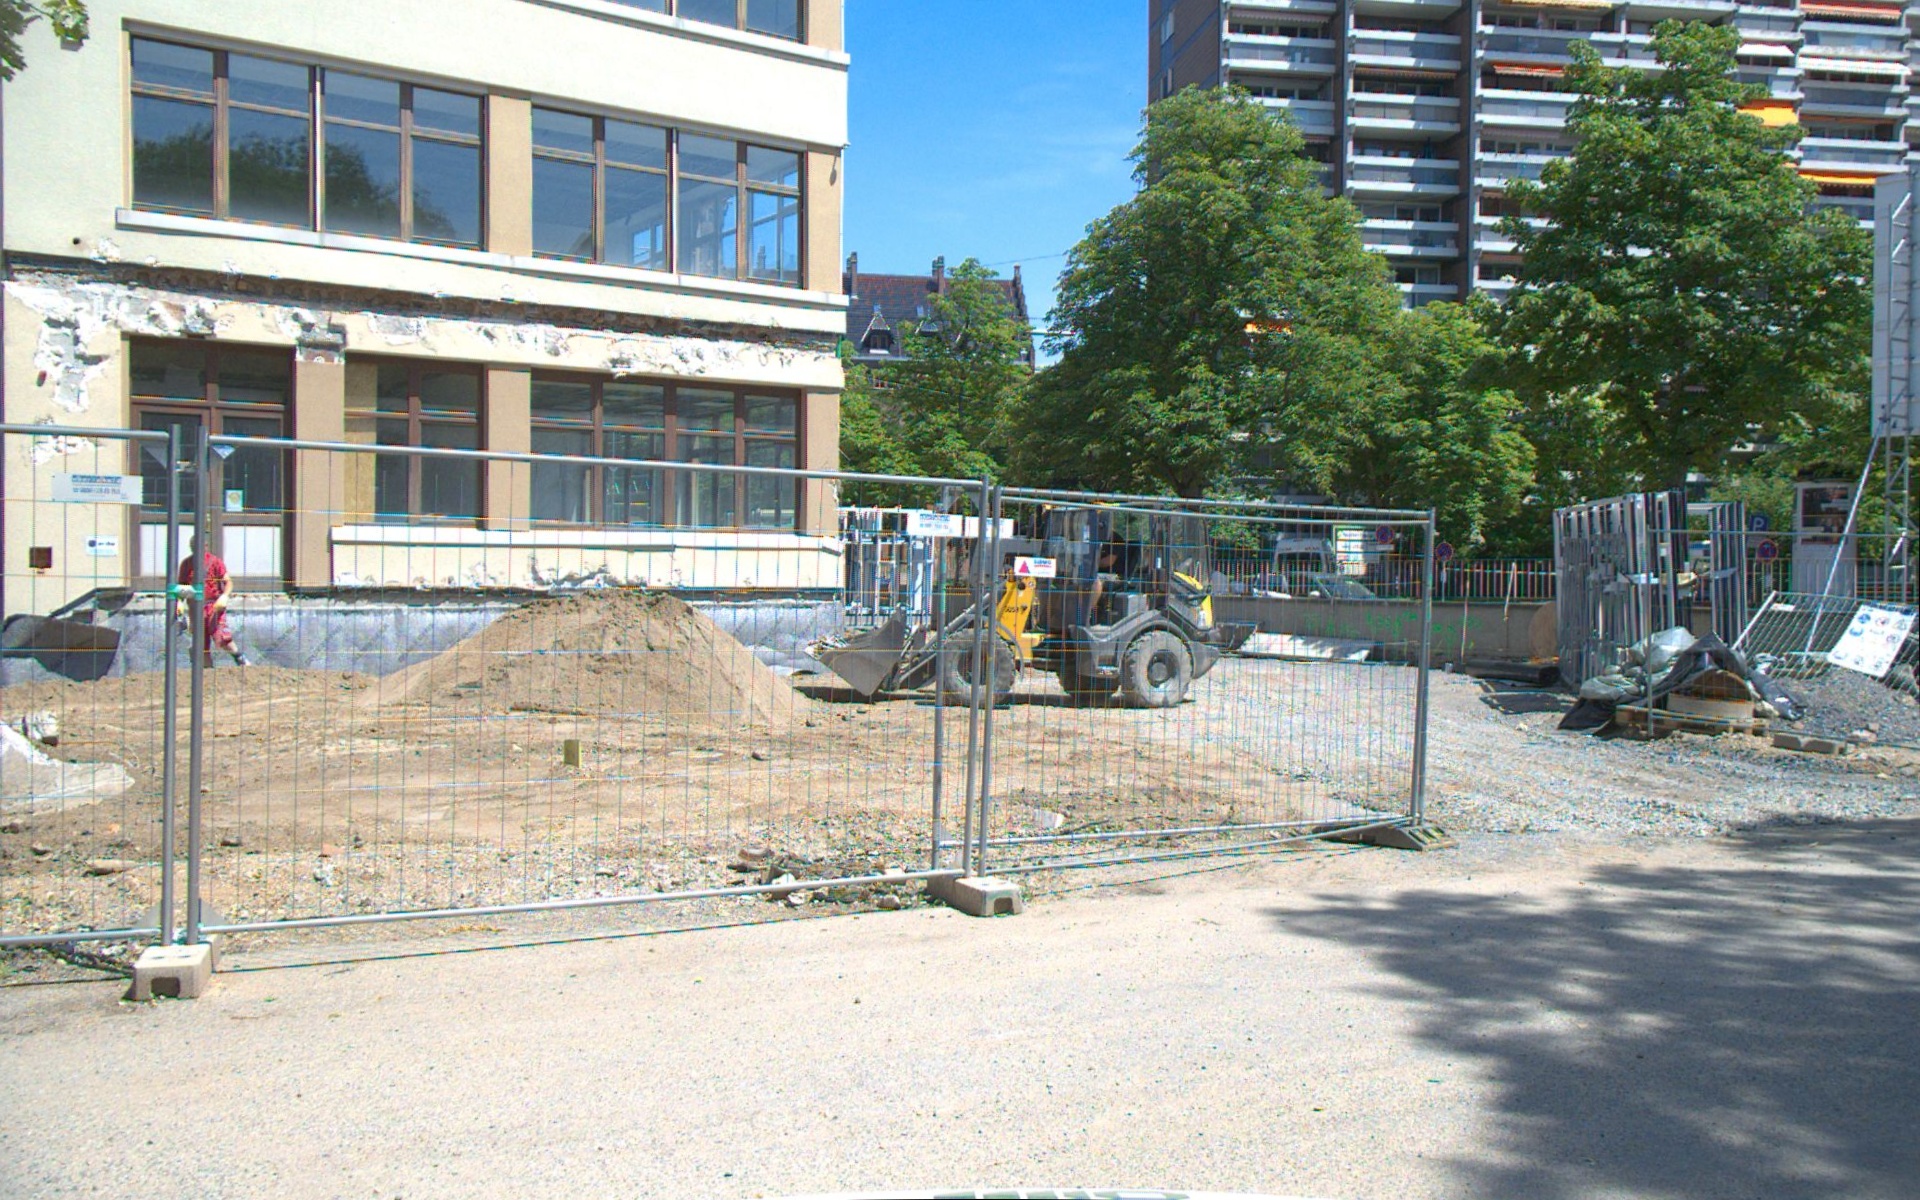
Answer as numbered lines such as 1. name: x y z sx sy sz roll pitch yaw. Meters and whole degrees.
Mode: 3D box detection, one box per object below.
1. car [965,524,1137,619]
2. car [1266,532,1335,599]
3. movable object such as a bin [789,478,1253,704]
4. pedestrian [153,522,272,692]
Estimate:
1. car: 2.436 -0.784 45.613 1.977 2.458 5.178 0 1 -35
2. car: 12.168 -1.206 58.841 2.138 2.297 4.873 0 1 15
3. movable object such as a bin: 0.676 -0.098 20.576 5.308 2.507 2.361 2 1 -13
4. pedestrian: -8.577 0.071 18.979 0.901 1.879 0.980 0 1 43
